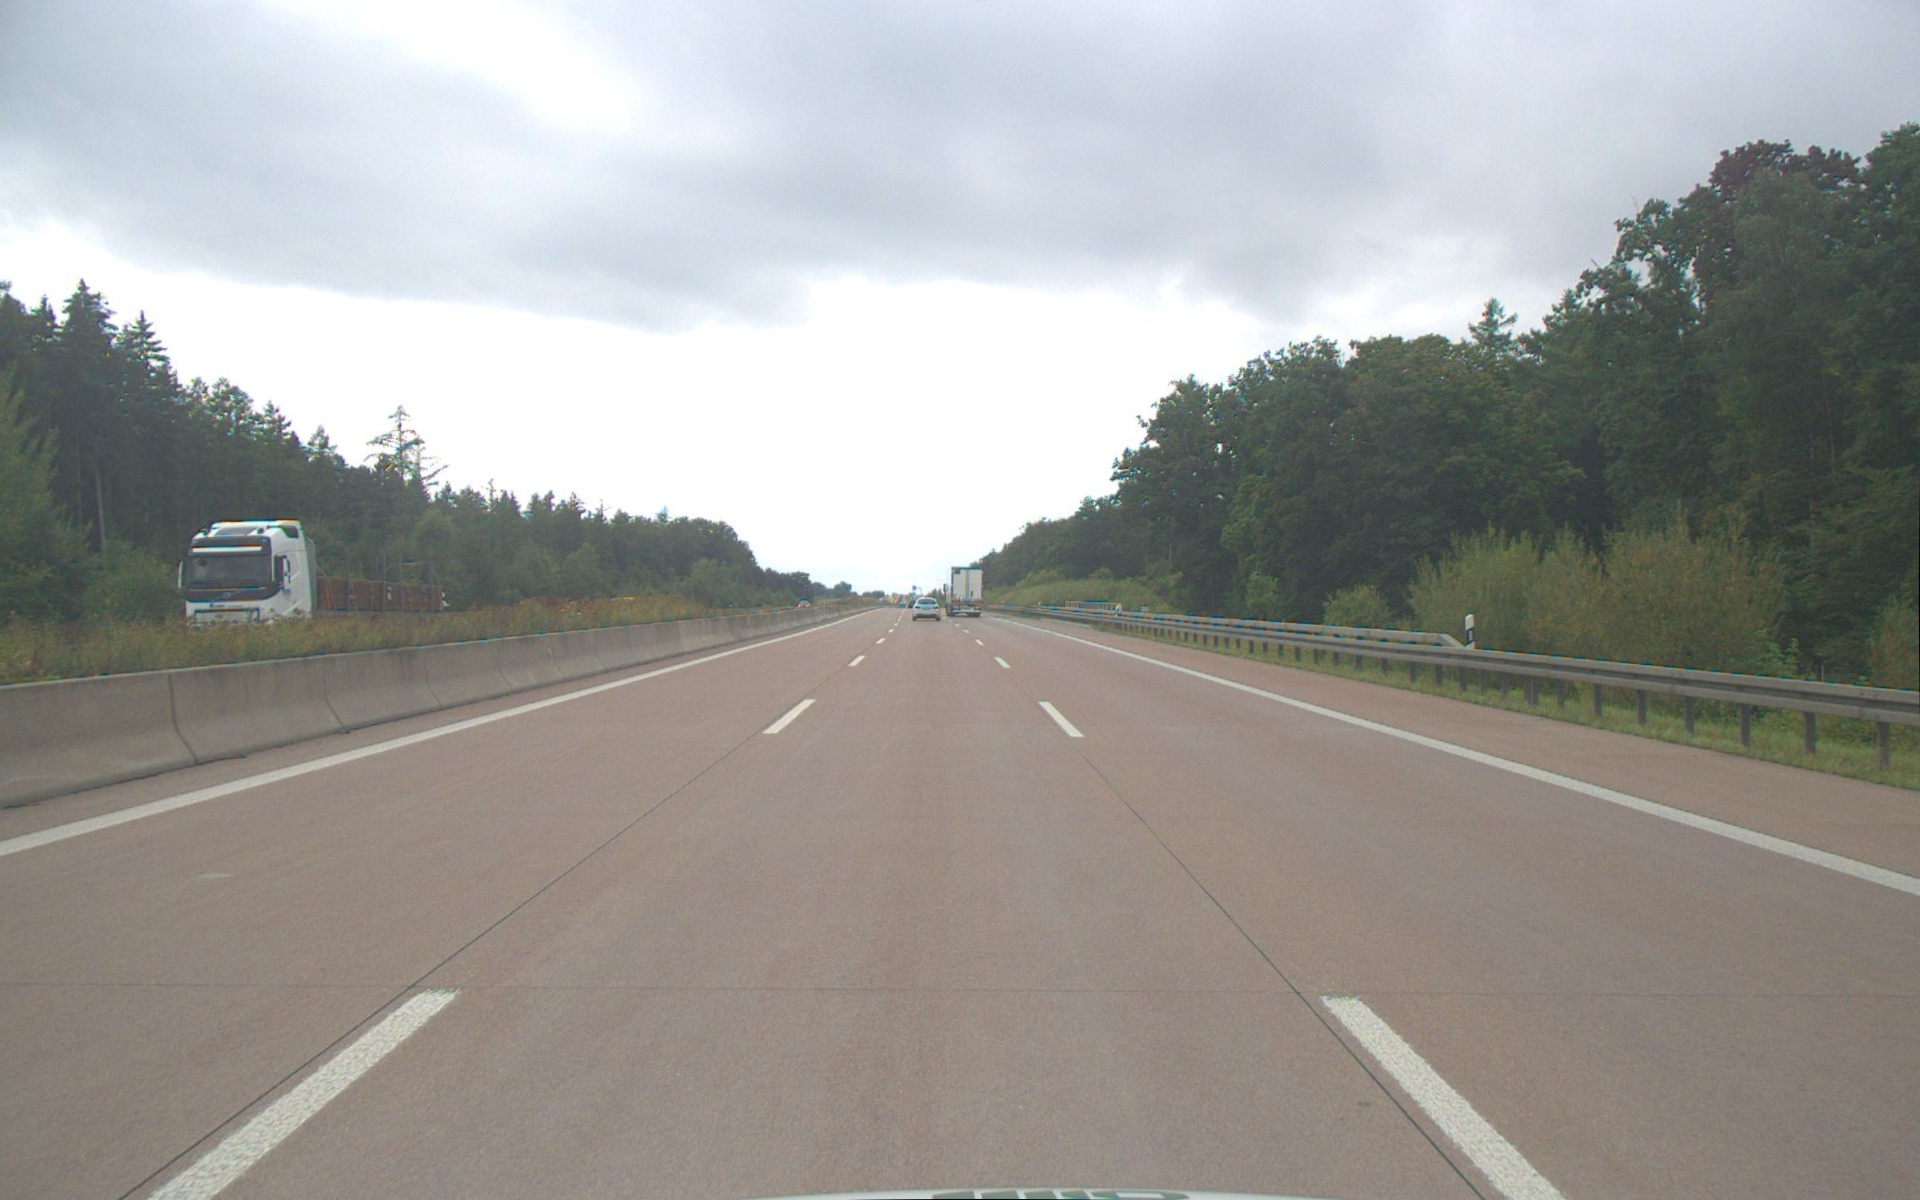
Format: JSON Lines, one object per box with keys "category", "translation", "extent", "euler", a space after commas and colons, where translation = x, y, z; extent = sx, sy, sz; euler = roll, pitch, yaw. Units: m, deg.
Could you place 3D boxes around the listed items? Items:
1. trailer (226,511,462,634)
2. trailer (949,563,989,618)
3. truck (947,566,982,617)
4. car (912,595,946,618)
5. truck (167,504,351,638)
{"category": "trailer", "translation": [-19.600, -0.806, 53.925], "extent": [2.874, 3.479, 13.268], "euler": [1, 0, -1]}
{"category": "trailer", "translation": [0.661, -0.738, 139.004], "extent": [2.862, 4.369, 13.608], "euler": [0, 0, -2]}
{"category": "truck", "translation": [0.397, -0.726, 146.623], "extent": [2.862, 4.369, 5.332], "euler": [0, 0, -2]}
{"category": "car", "translation": [-2.013, 0.404, 109.459], "extent": [2.119, 1.476, 4.718], "euler": [1, 0, 0]}
{"category": "truck", "translation": [-19.489, -0.783, 46.338], "extent": [2.874, 3.479, 5.343], "euler": [1, 0, -1]}
